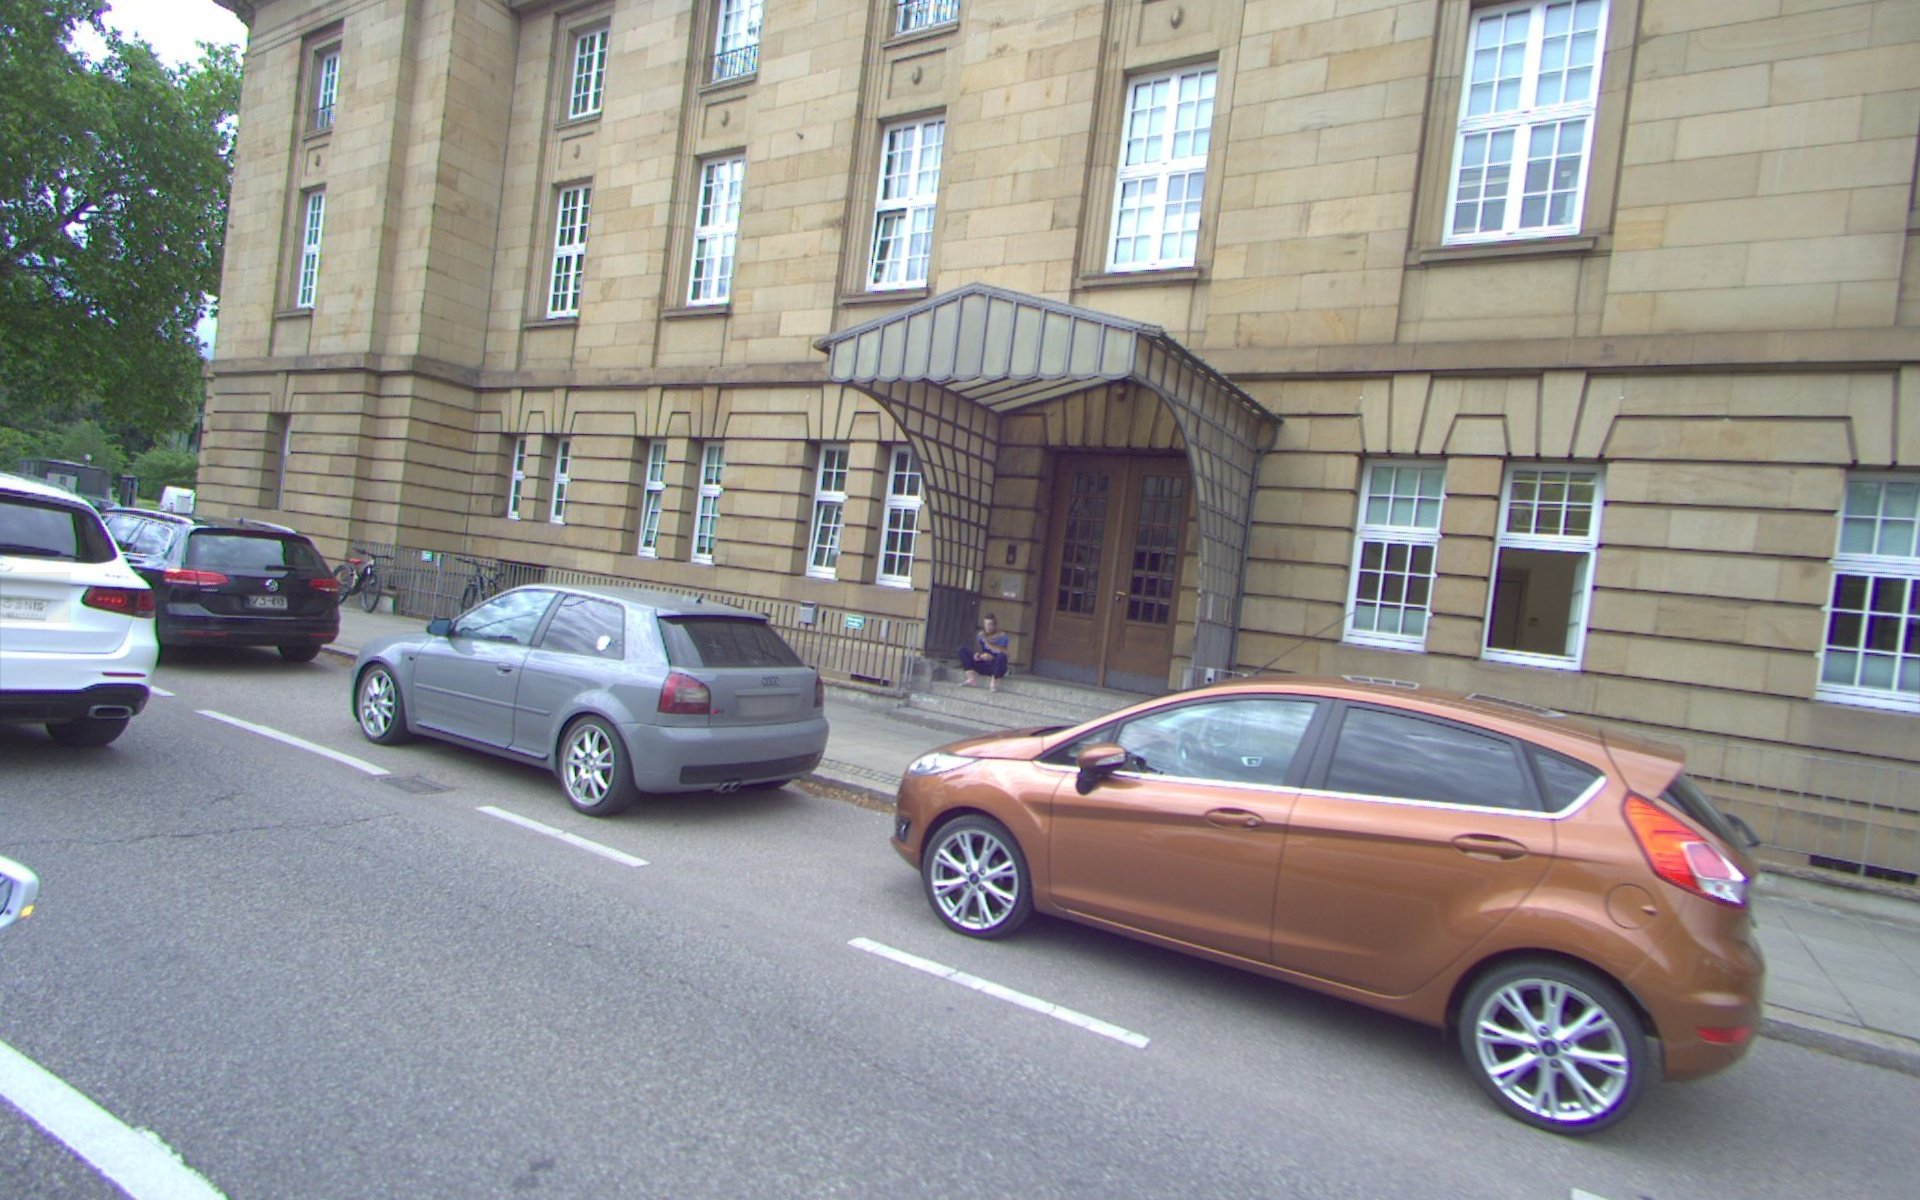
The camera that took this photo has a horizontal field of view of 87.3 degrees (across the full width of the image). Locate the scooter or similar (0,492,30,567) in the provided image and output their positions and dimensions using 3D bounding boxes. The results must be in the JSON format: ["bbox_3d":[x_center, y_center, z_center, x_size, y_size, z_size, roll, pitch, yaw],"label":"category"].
[{"bbox_3d":[-17.638,-1.323,18.465,1.131,1.293,0.562,7,-1,39],"label":"scooter or similar"}]

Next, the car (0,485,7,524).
[{"bbox_3d":[-41.914,-4.296,42.304,3.961,1.571,1.762,9,1,34],"label":"car"}]

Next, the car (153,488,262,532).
[{"bbox_3d":[-57.405,-6.857,76.862,2.363,2.288,6.112,7,-1,35],"label":"car"}]

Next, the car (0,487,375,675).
[{"bbox_3d":[-8.528,-0.249,10.969,4.252,1.505,1.790,7,1,30],"label":"car"}]

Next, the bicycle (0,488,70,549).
[{"bbox_3d":[-16.835,-1.488,17.660,1.720,0.928,0.607,8,-1,-39],"label":"bicycle"}]

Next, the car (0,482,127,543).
[{"bbox_3d":[-32.009,-3.111,35.329,1.652,1.587,3.841,7,-1,33],"label":"car"}]

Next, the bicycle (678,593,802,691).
[{"bbox_3d":[-2.905,0.532,13.174,1.828,1.041,0.222,7,-1,32],"label":"bicycle"}]

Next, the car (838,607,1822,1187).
[{"bbox_3d":[1.458,0.999,4.886,3.795,1.473,1.617,7,1,32],"label":"car"}]

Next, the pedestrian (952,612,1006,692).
[{"bbox_3d":[0.231,0.615,11.923,0.367,0.883,0.430,6,-2,33],"label":"pedestrian"}]

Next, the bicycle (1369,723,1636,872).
[{"bbox_3d":[4.431,1.589,8.315,1.848,0.854,0.306,6,-2,34],"label":"bicycle"}]

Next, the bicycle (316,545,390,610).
[{"bbox_3d":[-11.206,-0.426,18.553,1.930,1.010,0.240,6,0,32],"label":"bicycle"}]

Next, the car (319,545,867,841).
[{"bbox_3d":[-2.842,0.532,7.554,3.930,1.444,1.710,7,1,32],"label":"car"}]

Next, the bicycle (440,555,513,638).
[{"bbox_3d":[-7.836,-0.070,16.276,1.514,1.198,0.276,6,1,35],"label":"bicycle"}]

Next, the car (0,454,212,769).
[{"bbox_3d":[-6.925,-0.156,6.240,4.359,1.644,1.793,7,-1,27],"label":"car"}]

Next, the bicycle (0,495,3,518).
[{"bbox_3d":[-17.143,-1.266,16.788,1.536,1.271,0.537,9,-1,-39],"label":"bicycle"}]
